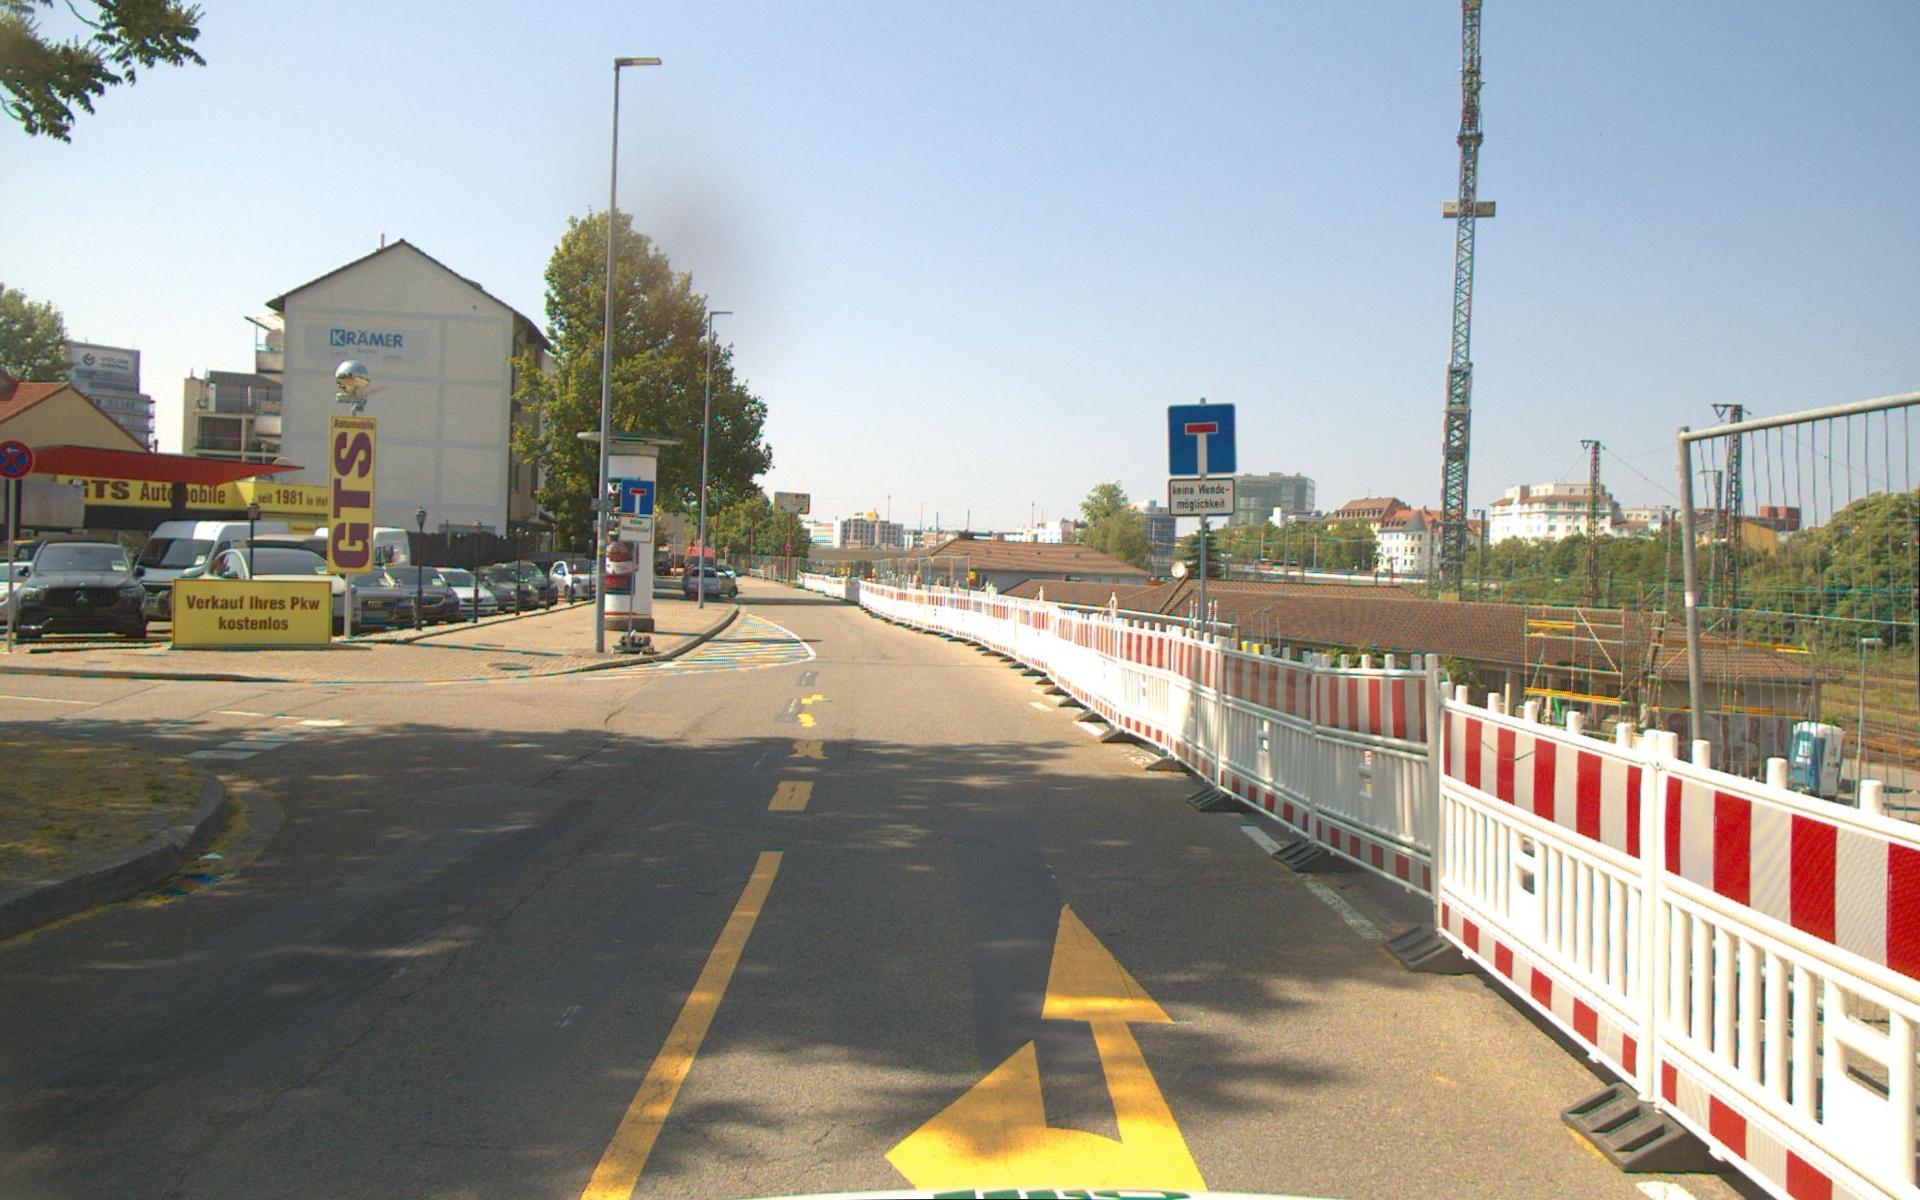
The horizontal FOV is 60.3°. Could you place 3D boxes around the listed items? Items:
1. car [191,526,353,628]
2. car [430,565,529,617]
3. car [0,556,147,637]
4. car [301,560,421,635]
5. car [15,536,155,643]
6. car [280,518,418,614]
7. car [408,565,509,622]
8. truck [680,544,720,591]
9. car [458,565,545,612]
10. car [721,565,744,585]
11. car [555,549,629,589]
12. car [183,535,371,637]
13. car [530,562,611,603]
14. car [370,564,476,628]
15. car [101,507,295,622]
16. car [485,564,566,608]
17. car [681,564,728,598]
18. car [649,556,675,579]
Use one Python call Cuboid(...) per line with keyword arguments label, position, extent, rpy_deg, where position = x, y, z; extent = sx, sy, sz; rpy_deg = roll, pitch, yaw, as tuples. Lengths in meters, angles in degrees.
Cuboid(label="car", position=(-17.373, -0.539, 42.044), extent=(2.201, 2.391, 4.821), rpy_deg=(1, 0, -2))
Cuboid(label="car", position=(-14.876, -0.299, 51.109), extent=(1.654, 1.498, 3.948), rpy_deg=(-2, 2, -37))
Cuboid(label="car", position=(-19.949, -0.121, 35.883), extent=(1.868, 1.602, 4.691), rpy_deg=(2, 1, 7))
Cuboid(label="car", position=(-13.099, -0.092, 36.061), extent=(1.816, 1.498, 3.961), rpy_deg=(-2, 2, -29))
Cuboid(label="car", position=(-15.420, -0.157, 29.156), extent=(2.020, 1.737, 4.274), rpy_deg=(0, 0, -29))
Cuboid(label="car", position=(-17.753, -0.931, 48.380), extent=(2.203, 2.472, 5.712), rpy_deg=(5, -1, -6))
Cuboid(label="car", position=(-14.282, -0.201, 46.986), extent=(1.763, 1.498, 3.957), rpy_deg=(-2, 2, -32))
Cuboid(label="truck", position=(-15.496, -1.911, 98.877), extent=(2.196, 2.694, 5.671), rpy_deg=(1, 0, -8))
Cuboid(label="car", position=(-15.476, -0.421, 55.737), extent=(1.653, 1.498, 3.953), rpy_deg=(-2, 2, -34))
Cuboid(label="car", position=(-17.277, -1.895, 125.417), extent=(1.685, 1.440, 4.070), rpy_deg=(2, 0, -8))
Cuboid(label="car", position=(-20.260, -1.688, 90.981), extent=(3.856, 1.992, 1.753), rpy_deg=(3, 0, -14))
Cuboid(label="car", position=(-12.964, -0.218, 31.244), extent=(1.964, 1.736, 4.595), rpy_deg=(-1, -1, -41))
Cuboid(label="car", position=(-15.062, -0.688, 63.864), extent=(1.761, 1.498, 3.953), rpy_deg=(-2, 2, -34))
Cuboid(label="car", position=(-13.561, -0.143, 41.648), extent=(1.816, 1.498, 3.961), rpy_deg=(-2, 2, -29))
Cuboid(label="car", position=(-20.193, -0.889, 44.225), extent=(2.230, 2.806, 6.153), rpy_deg=(1, 0, 1))
Cuboid(label="car", position=(-15.820, -0.525, 60.113), extent=(1.653, 1.498, 3.952), rpy_deg=(-2, 2, -34))
Cuboid(label="car", position=(-12.286, -0.917, 79.714), extent=(1.832, 1.524, 4.029), rpy_deg=(1, 2, -3))
Cuboid(label="car", position=(-27.934, -3.013, 155.045), extent=(1.899, 1.865, 3.920), rpy_deg=(5, 0, -4))
